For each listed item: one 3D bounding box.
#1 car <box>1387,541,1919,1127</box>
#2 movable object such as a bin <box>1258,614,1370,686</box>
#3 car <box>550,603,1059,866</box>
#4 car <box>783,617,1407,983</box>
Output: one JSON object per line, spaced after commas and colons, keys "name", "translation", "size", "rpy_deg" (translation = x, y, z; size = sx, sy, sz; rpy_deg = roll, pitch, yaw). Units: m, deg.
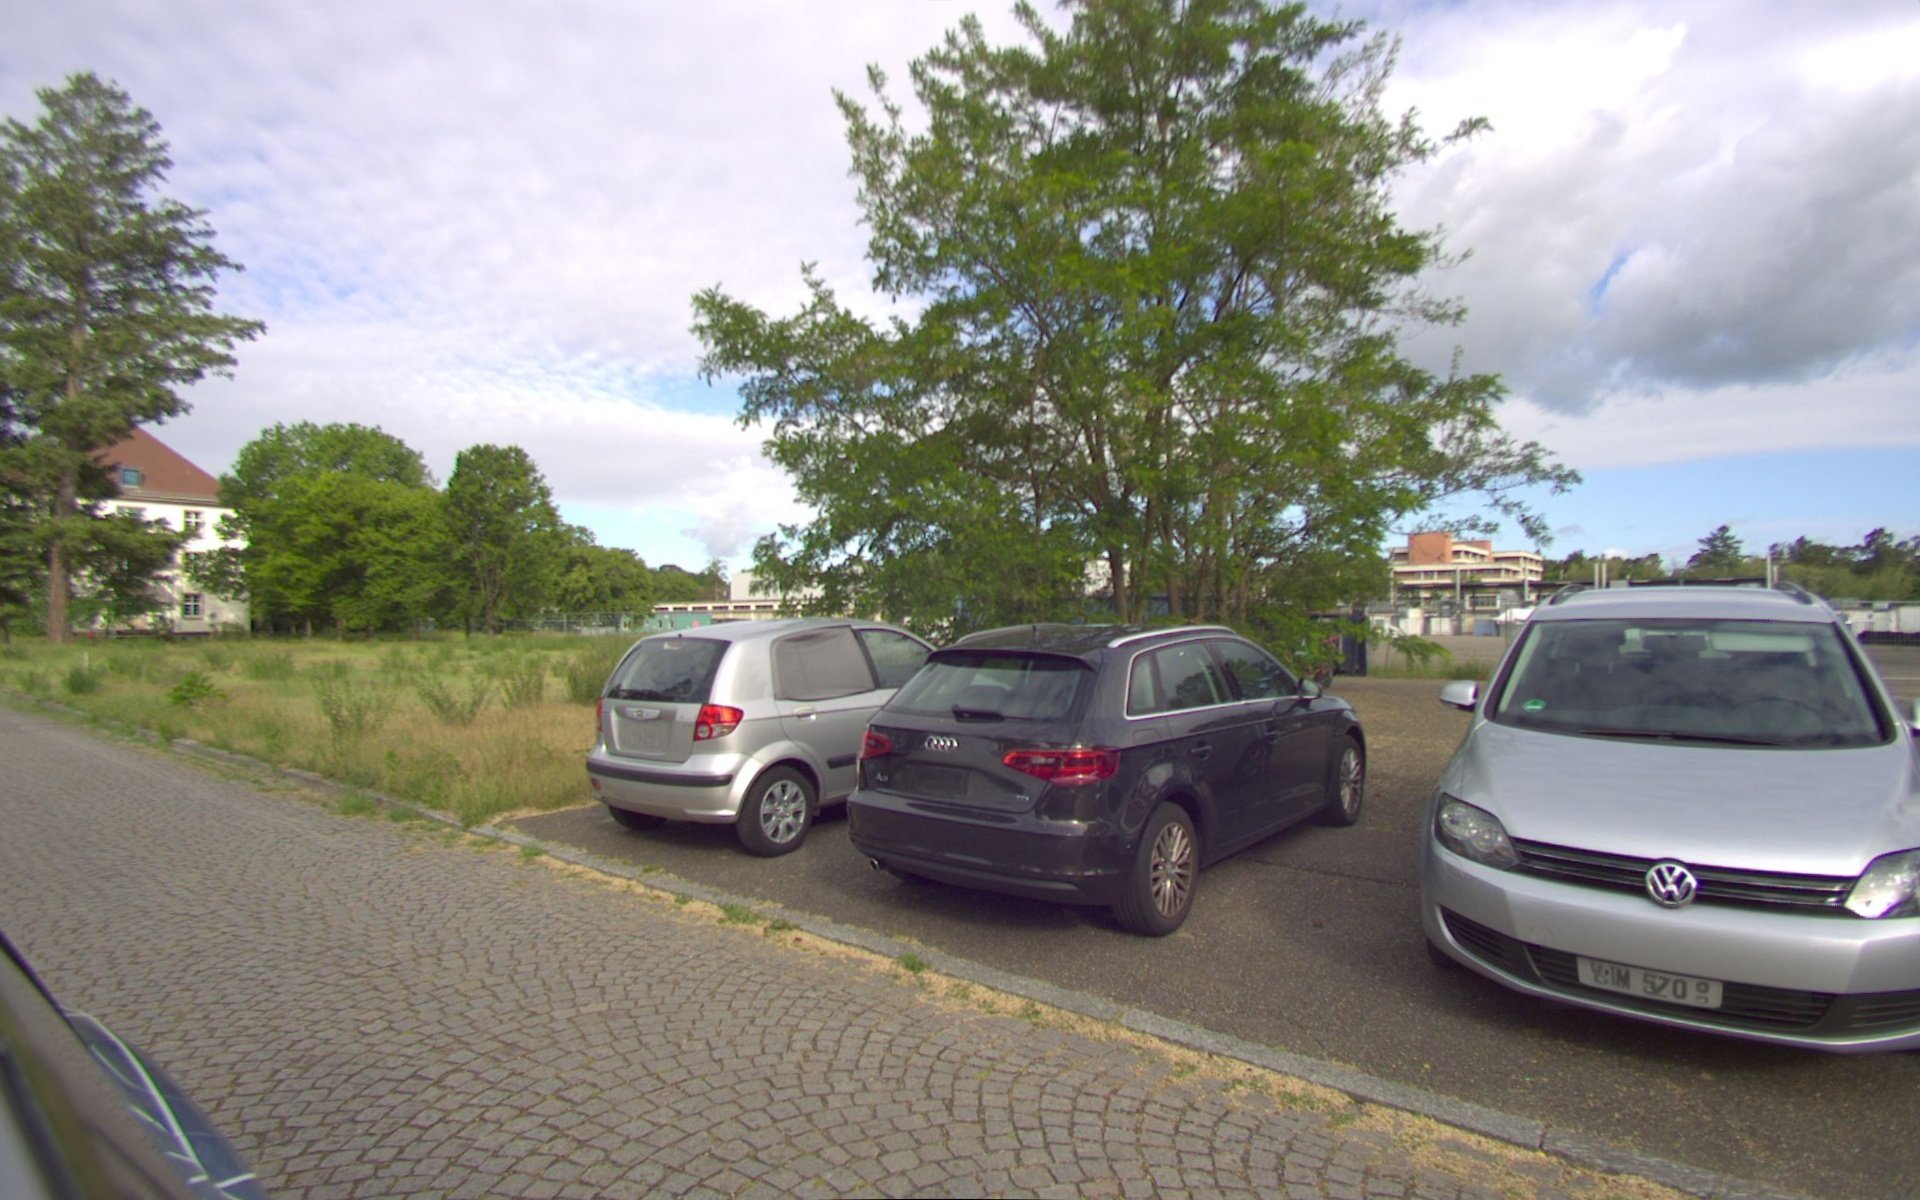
{"name": "car", "translation": [3.570, 0.626, 4.825], "size": [1.844, 1.602, 4.433], "rpy_deg": [-1, 0, 36]}
{"name": "movable object such as a bin", "translation": [6.562, 0.883, 18.664], "size": [1.169, 1.221, 2.505], "rpy_deg": [-1, -2, 40]}
{"name": "car", "translation": [-0.945, 0.797, 7.954], "size": [1.677, 1.467, 3.939], "rpy_deg": [-1, 0, 36]}
{"name": "car", "translation": [1.226, 0.849, 6.389], "size": [1.882, 1.433, 4.576], "rpy_deg": [-1, -2, 38]}
